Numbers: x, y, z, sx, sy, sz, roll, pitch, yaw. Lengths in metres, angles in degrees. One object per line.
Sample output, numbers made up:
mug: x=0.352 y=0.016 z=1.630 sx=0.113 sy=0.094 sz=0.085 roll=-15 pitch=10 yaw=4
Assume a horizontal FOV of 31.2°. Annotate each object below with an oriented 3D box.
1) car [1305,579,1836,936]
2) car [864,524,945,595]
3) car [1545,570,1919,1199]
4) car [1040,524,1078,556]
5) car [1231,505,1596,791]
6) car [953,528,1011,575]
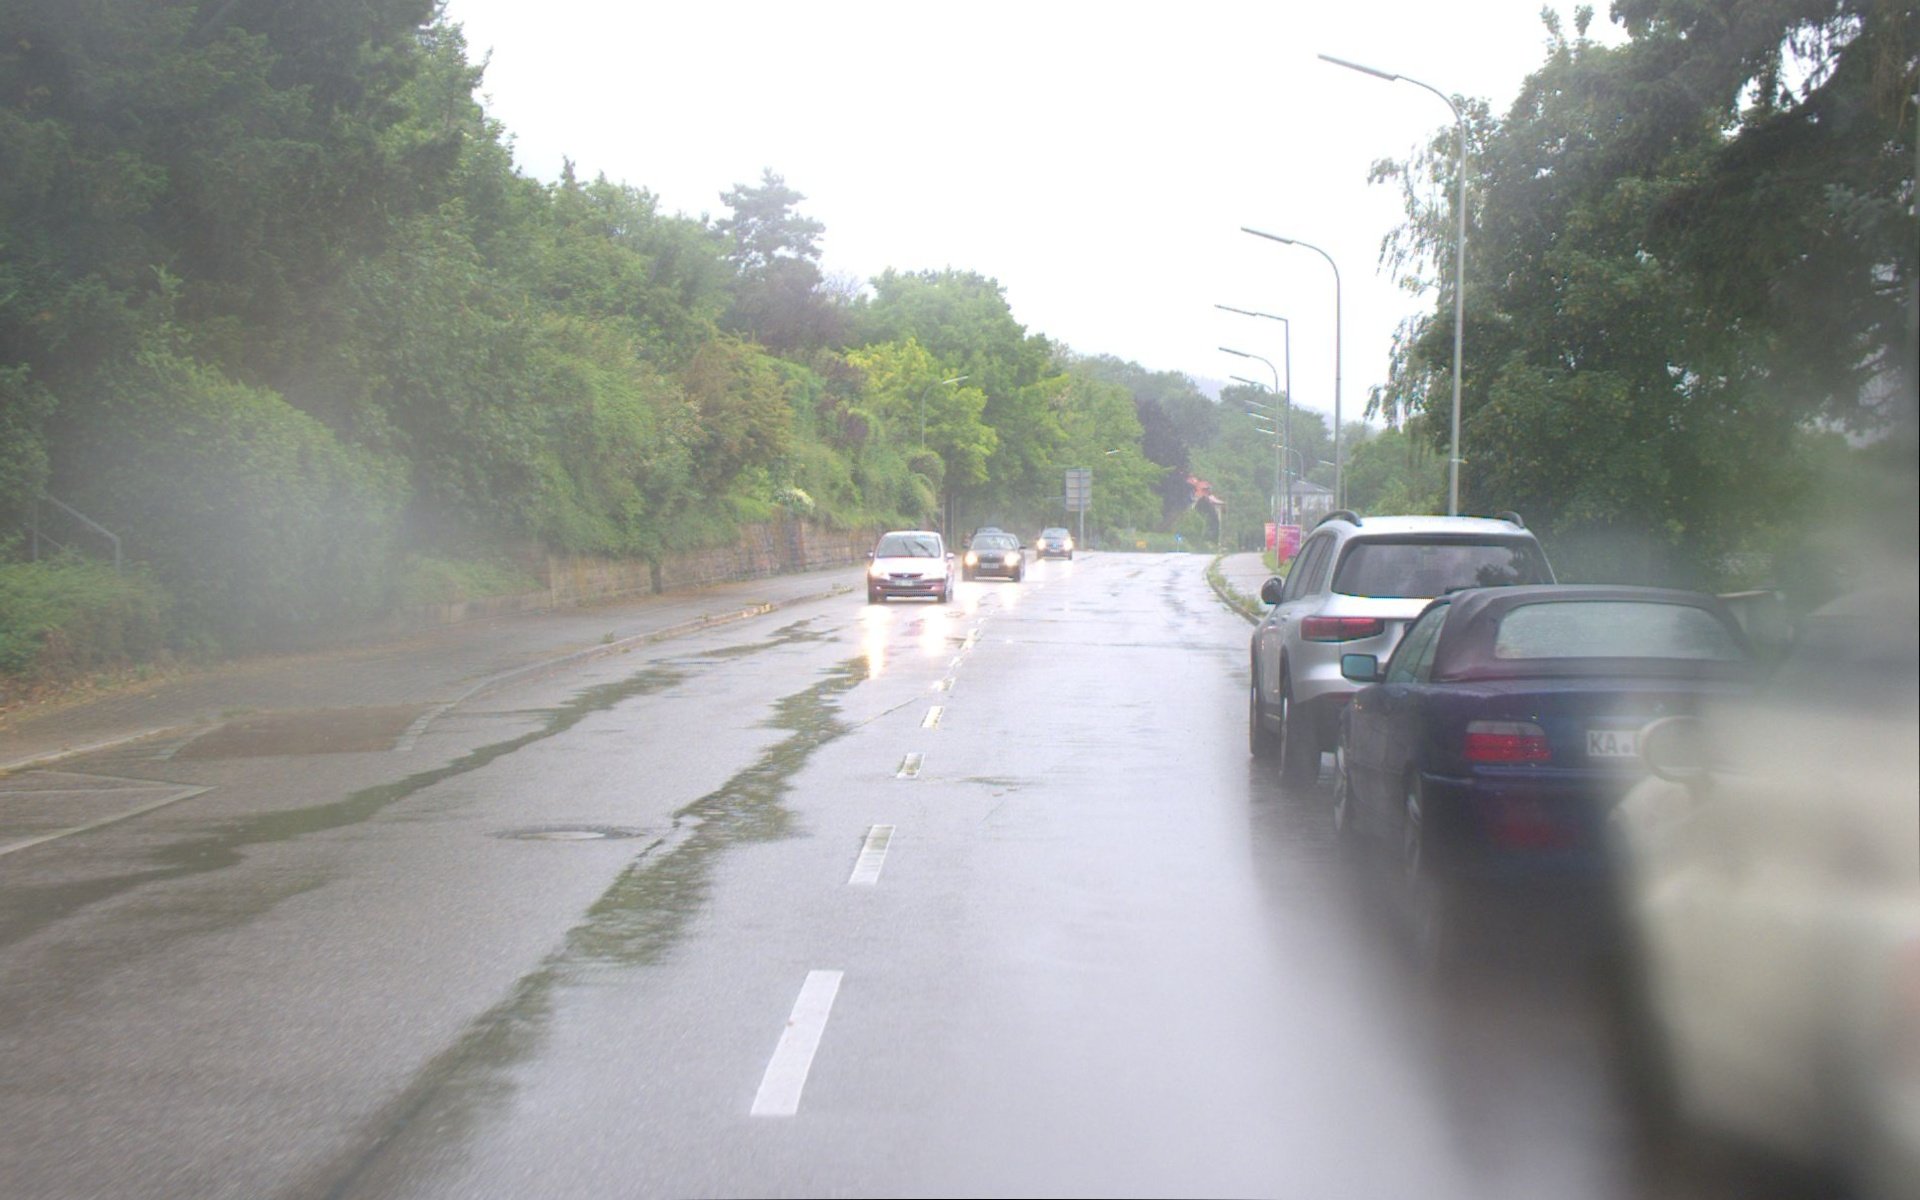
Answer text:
car: x=2.553 y=0.590 z=15.344 sx=1.630 sy=1.277 sz=4.448 roll=-1 pitch=1 yaw=1
car: x=-1.206 y=-0.889 z=73.334 sx=1.662 sy=1.456 sz=3.662 roll=-1 pitch=1 yaw=-1
car: x=2.569 y=0.656 z=8.112 sx=1.709 sy=1.398 sz=4.204 roll=-1 pitch=1 yaw=1
car: x=4.715 y=-2.884 z=163.812 sx=1.760 sy=1.491 sz=4.127 roll=-1 pitch=1 yaw=2
car: x=2.800 y=0.233 z=22.128 sx=1.815 sy=1.640 sz=4.395 roll=-1 pitch=1 yaw=1
car: x=0.665 y=-1.453 z=101.467 sx=1.654 sy=1.347 sz=3.987 roll=-1 pitch=1 yaw=1
